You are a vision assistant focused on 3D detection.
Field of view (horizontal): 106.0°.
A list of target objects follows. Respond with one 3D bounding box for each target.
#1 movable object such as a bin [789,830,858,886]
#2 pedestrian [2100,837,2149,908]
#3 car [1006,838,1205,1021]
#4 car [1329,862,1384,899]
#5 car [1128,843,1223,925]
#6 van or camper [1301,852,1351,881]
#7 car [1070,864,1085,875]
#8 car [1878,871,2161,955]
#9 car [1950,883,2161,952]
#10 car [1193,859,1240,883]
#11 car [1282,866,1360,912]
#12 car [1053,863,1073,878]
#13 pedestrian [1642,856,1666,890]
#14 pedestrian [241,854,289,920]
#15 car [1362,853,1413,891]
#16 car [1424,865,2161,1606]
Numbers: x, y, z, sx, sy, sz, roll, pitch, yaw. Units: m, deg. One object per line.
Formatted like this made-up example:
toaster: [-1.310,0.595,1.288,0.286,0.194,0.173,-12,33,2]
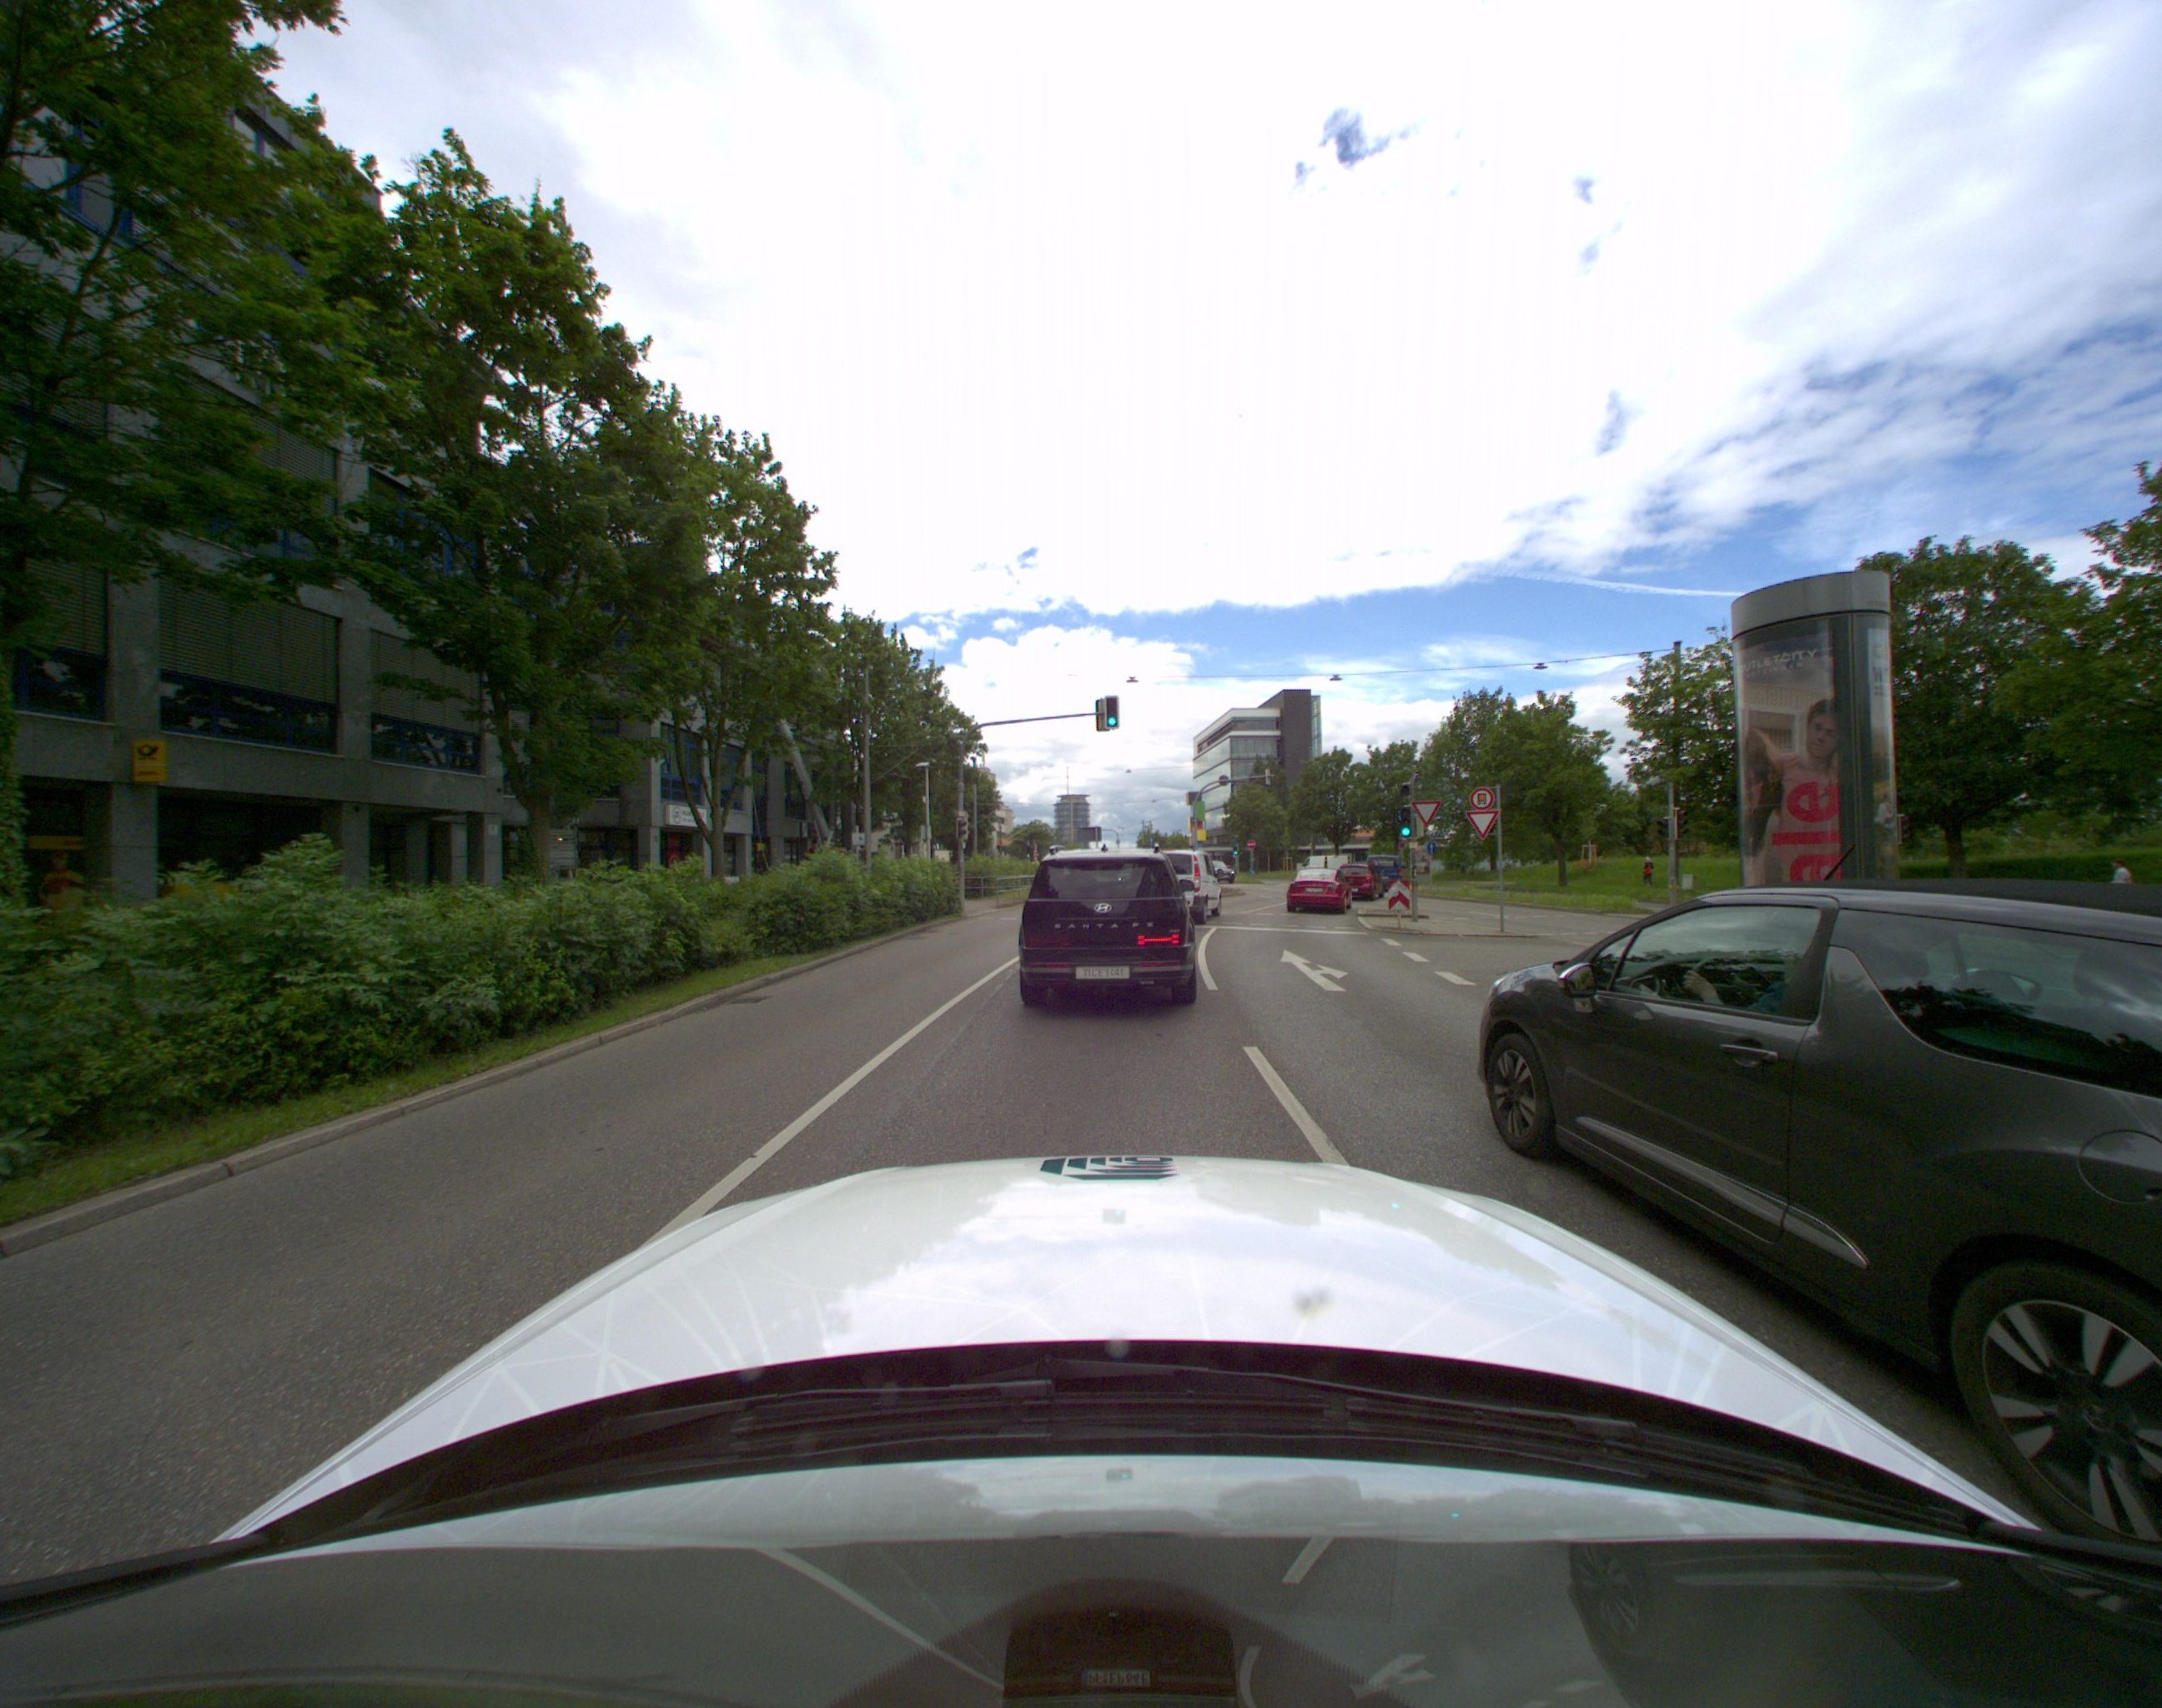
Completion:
movable object such as a bin: [-12.370,0.210,39.417,1.898,2.531,4.128,1,0,1]
pedestrian: [29.354,0.513,22.907,0.590,1.917,0.749,-5,2,-31]
car: [0.394,0.742,10.048,1.893,1.731,4.451,0,-1,4]
car: [11.674,1.064,34.360,1.728,1.481,3.740,0,-1,26]
car: [2.681,0.742,22.138,1.888,1.969,4.654,0,-1,15]
van or camper: [17.490,0.859,58.373,1.990,1.918,4.401,0,0,-5]
car: [-0.529,2.129,110.503,1.795,1.455,4.605,-1,-1,-4]
car: [21.543,1.230,18.653,1.850,1.530,4.472,1,1,-11]
car: [24.912,1.502,20.239,1.984,1.442,4.143,1,-1,-11]
car: [9.466,1.151,57.341,1.889,1.564,4.379,0,0,-11]
car: [8.162,1.110,27.483,1.856,1.418,4.468,0,-1,25]
car: [-2.056,1.836,90.763,1.781,1.537,4.386,0,0,-7]
pedestrian: [28.522,0.942,40.558,0.542,1.604,0.698,-5,1,-18]
pedestrian: [-16.772,0.671,16.750,0.364,1.334,0.558,2,0,-3]
car: [16.189,0.911,42.901,1.884,1.859,4.737,0,-1,28]
car: [3.009,0.792,3.095,1.695,1.461,4.061,1,-1,0]
